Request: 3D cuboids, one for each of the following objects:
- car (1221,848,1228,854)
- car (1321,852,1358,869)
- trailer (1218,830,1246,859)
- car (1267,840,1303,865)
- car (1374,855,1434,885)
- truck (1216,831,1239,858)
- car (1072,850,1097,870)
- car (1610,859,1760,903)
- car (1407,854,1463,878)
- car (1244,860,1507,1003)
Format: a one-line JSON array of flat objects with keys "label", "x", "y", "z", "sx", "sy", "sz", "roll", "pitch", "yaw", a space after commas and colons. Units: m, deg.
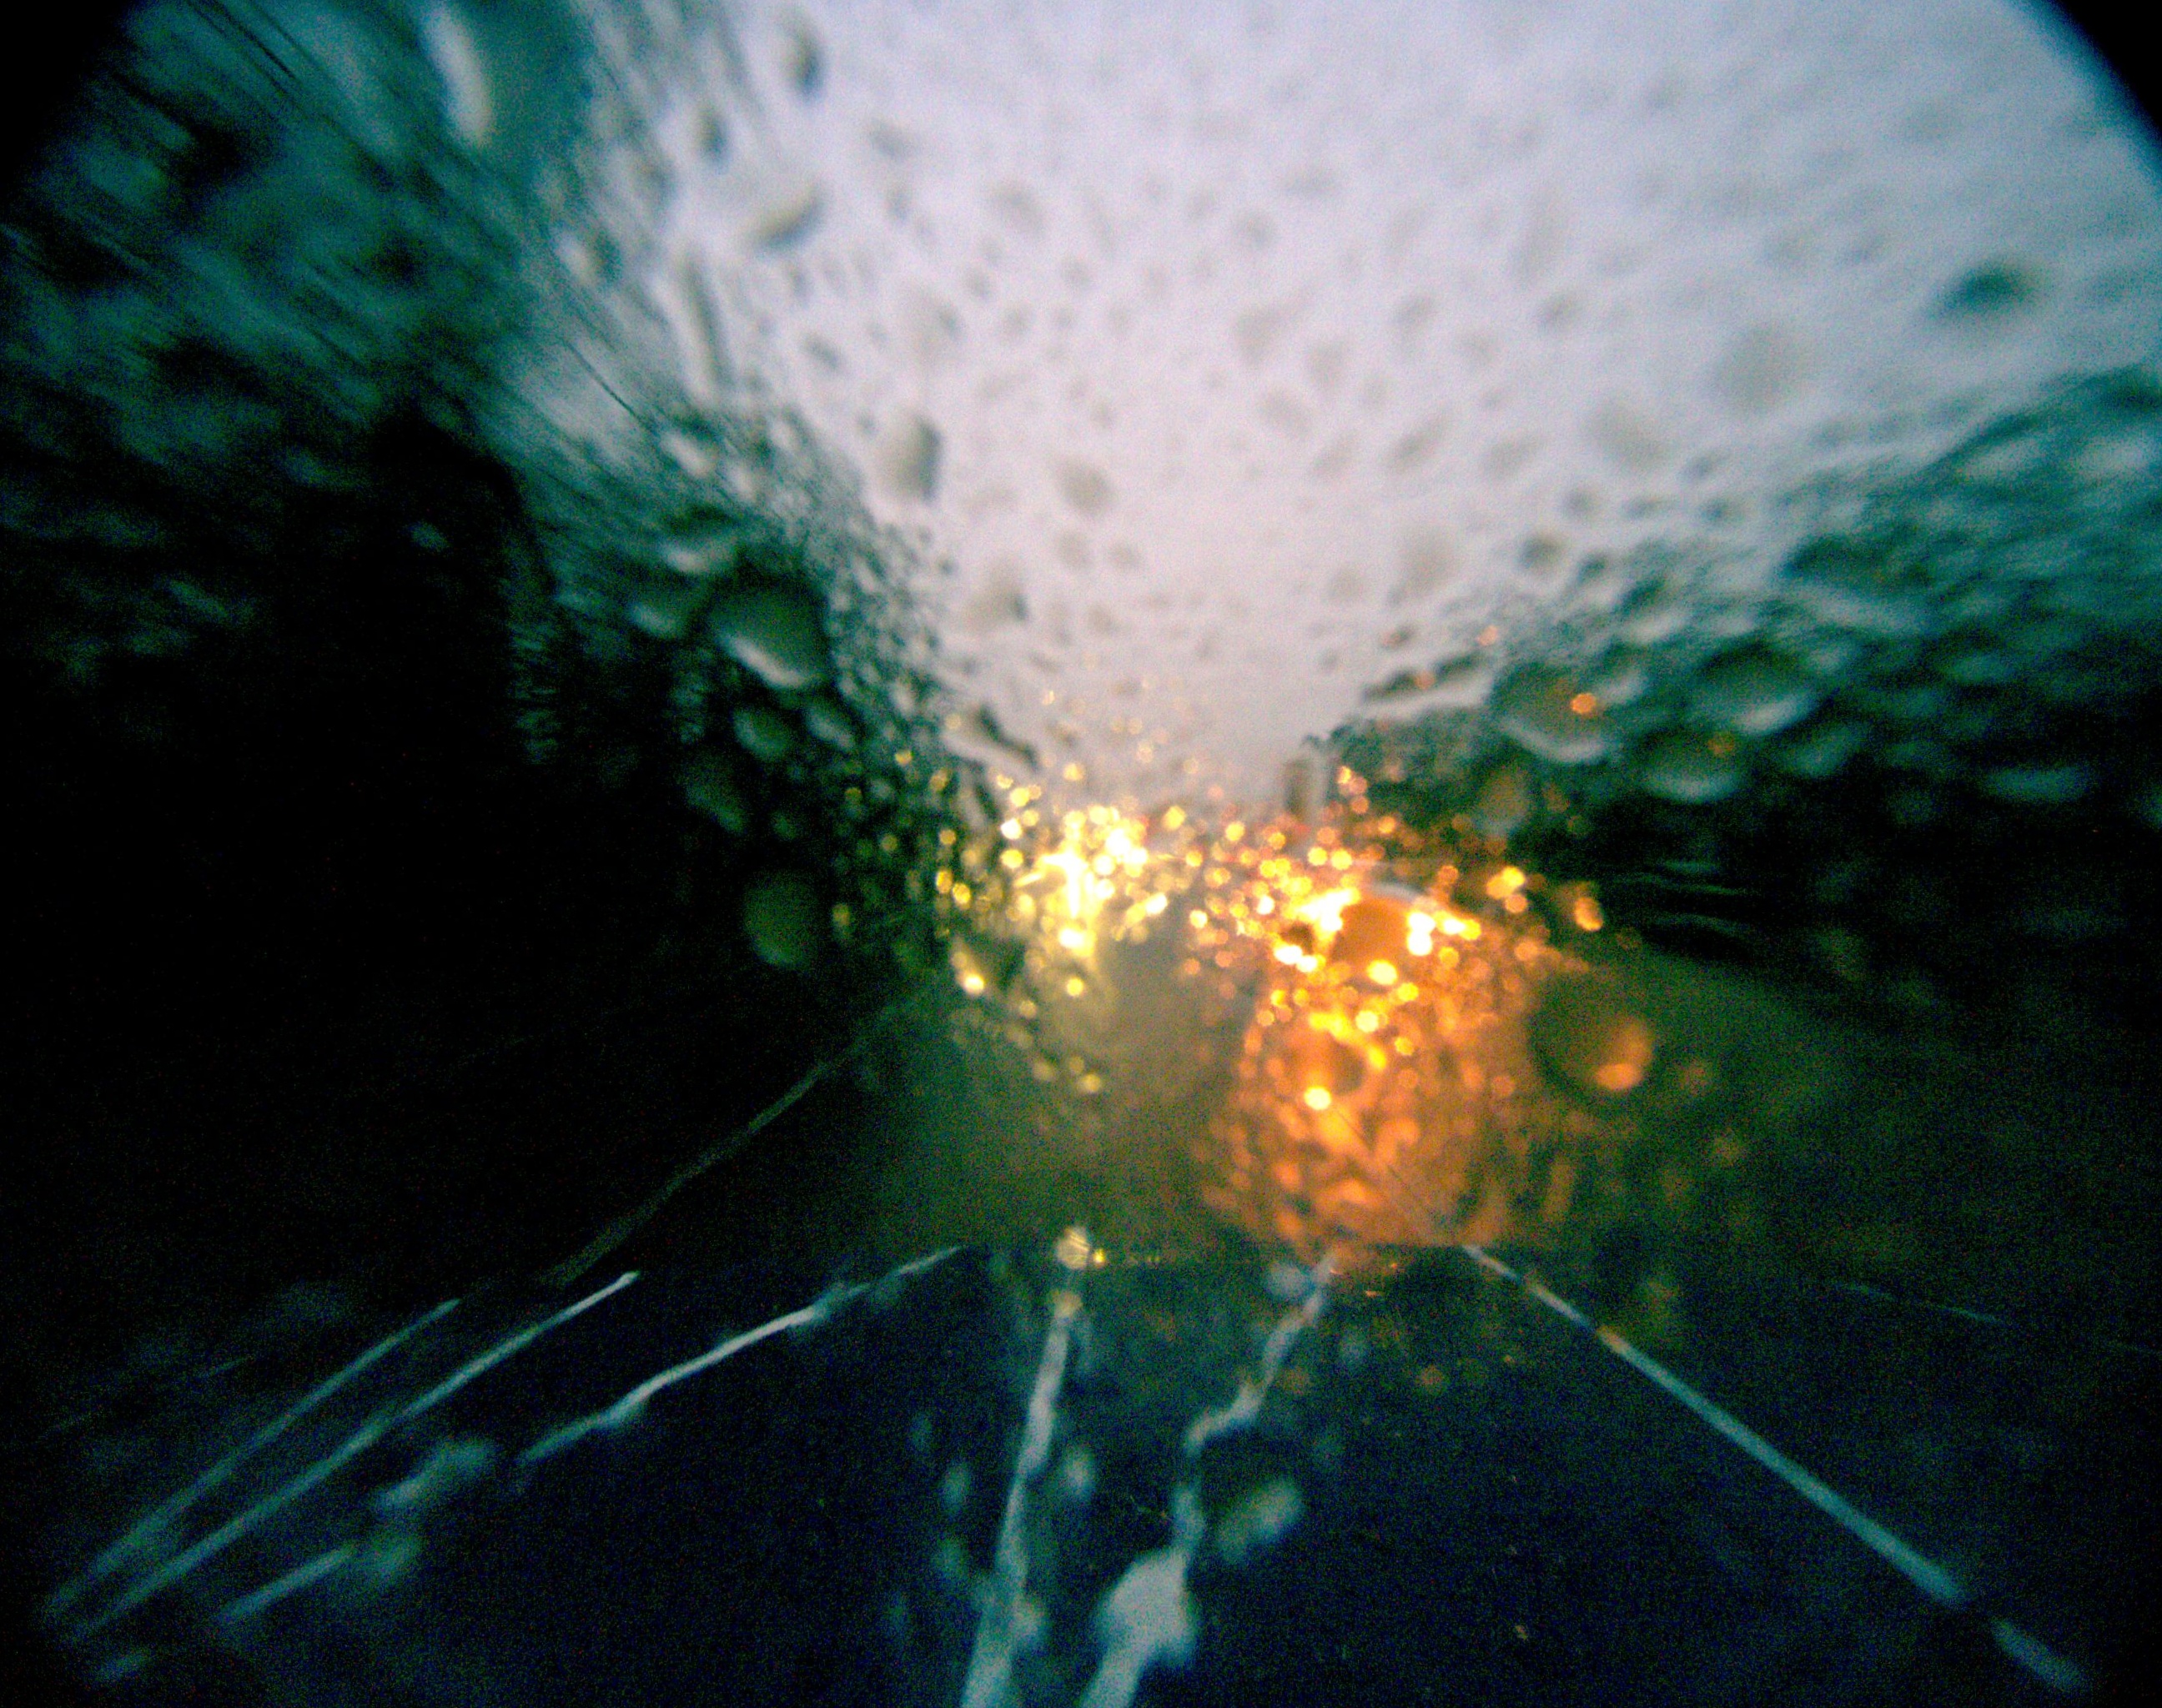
[{"label": "car", "x": 34.672, "y": -0.723, "z": 183.255, "sx": 1.460, "sy": 1.556, "sz": 3.653, "roll": -2, "pitch": 0, "yaw": 10}, {"label": "car", "x": 22.266, "y": 0.575, "z": 65.682, "sx": 1.714, "sy": 1.314, "sz": 4.473, "roll": -3, "pitch": 0, "yaw": 2}, {"label": "trailer", "x": 26.582, "y": -1.650, "z": 134.356, "sx": 3.497, "sy": 4.819, "sz": 13.484, "roll": -3, "pitch": 1, "yaw": 6}, {"label": "car", "x": 23.657, "y": -0.241, "z": 88.507, "sx": 2.533, "sy": 2.715, "sz": 6.340, "roll": -3, "pitch": 1, "yaw": 2}, {"label": "car", "x": 17.652, "y": 0.856, "z": 41.733, "sx": 1.549, "sy": 1.435, "sz": 4.362, "roll": -3, "pitch": 1, "yaw": 2}, {"label": "truck", "x": 27.299, "y": -1.739, "z": 141.535, "sx": 3.497, "sy": 4.819, "sz": 6.033, "roll": -3, "pitch": 1, "yaw": 6}, {"label": "car", "x": 0.272, "y": 0.481, "z": 65.274, "sx": 1.841, "sy": 1.553, "sz": 3.866, "roll": -3, "pitch": 1, "yaw": -2}, {"label": "car", "x": 20.681, "y": 0.865, "z": 26.302, "sx": 1.549, "sy": 1.264, "sz": 4.686, "roll": -3, "pitch": 0, "yaw": 2}, {"label": "car", "x": 21.879, "y": 0.736, "z": 47.093, "sx": 1.549, "sy": 1.314, "sz": 4.257, "roll": -3, "pitch": 0, "yaw": 2}, {"label": "car", "x": 3.752, "y": 0.870, "z": 10.773, "sx": 1.952, "sy": 1.511, "sz": 4.787, "roll": 0, "pitch": 0, "yaw": 1}]
